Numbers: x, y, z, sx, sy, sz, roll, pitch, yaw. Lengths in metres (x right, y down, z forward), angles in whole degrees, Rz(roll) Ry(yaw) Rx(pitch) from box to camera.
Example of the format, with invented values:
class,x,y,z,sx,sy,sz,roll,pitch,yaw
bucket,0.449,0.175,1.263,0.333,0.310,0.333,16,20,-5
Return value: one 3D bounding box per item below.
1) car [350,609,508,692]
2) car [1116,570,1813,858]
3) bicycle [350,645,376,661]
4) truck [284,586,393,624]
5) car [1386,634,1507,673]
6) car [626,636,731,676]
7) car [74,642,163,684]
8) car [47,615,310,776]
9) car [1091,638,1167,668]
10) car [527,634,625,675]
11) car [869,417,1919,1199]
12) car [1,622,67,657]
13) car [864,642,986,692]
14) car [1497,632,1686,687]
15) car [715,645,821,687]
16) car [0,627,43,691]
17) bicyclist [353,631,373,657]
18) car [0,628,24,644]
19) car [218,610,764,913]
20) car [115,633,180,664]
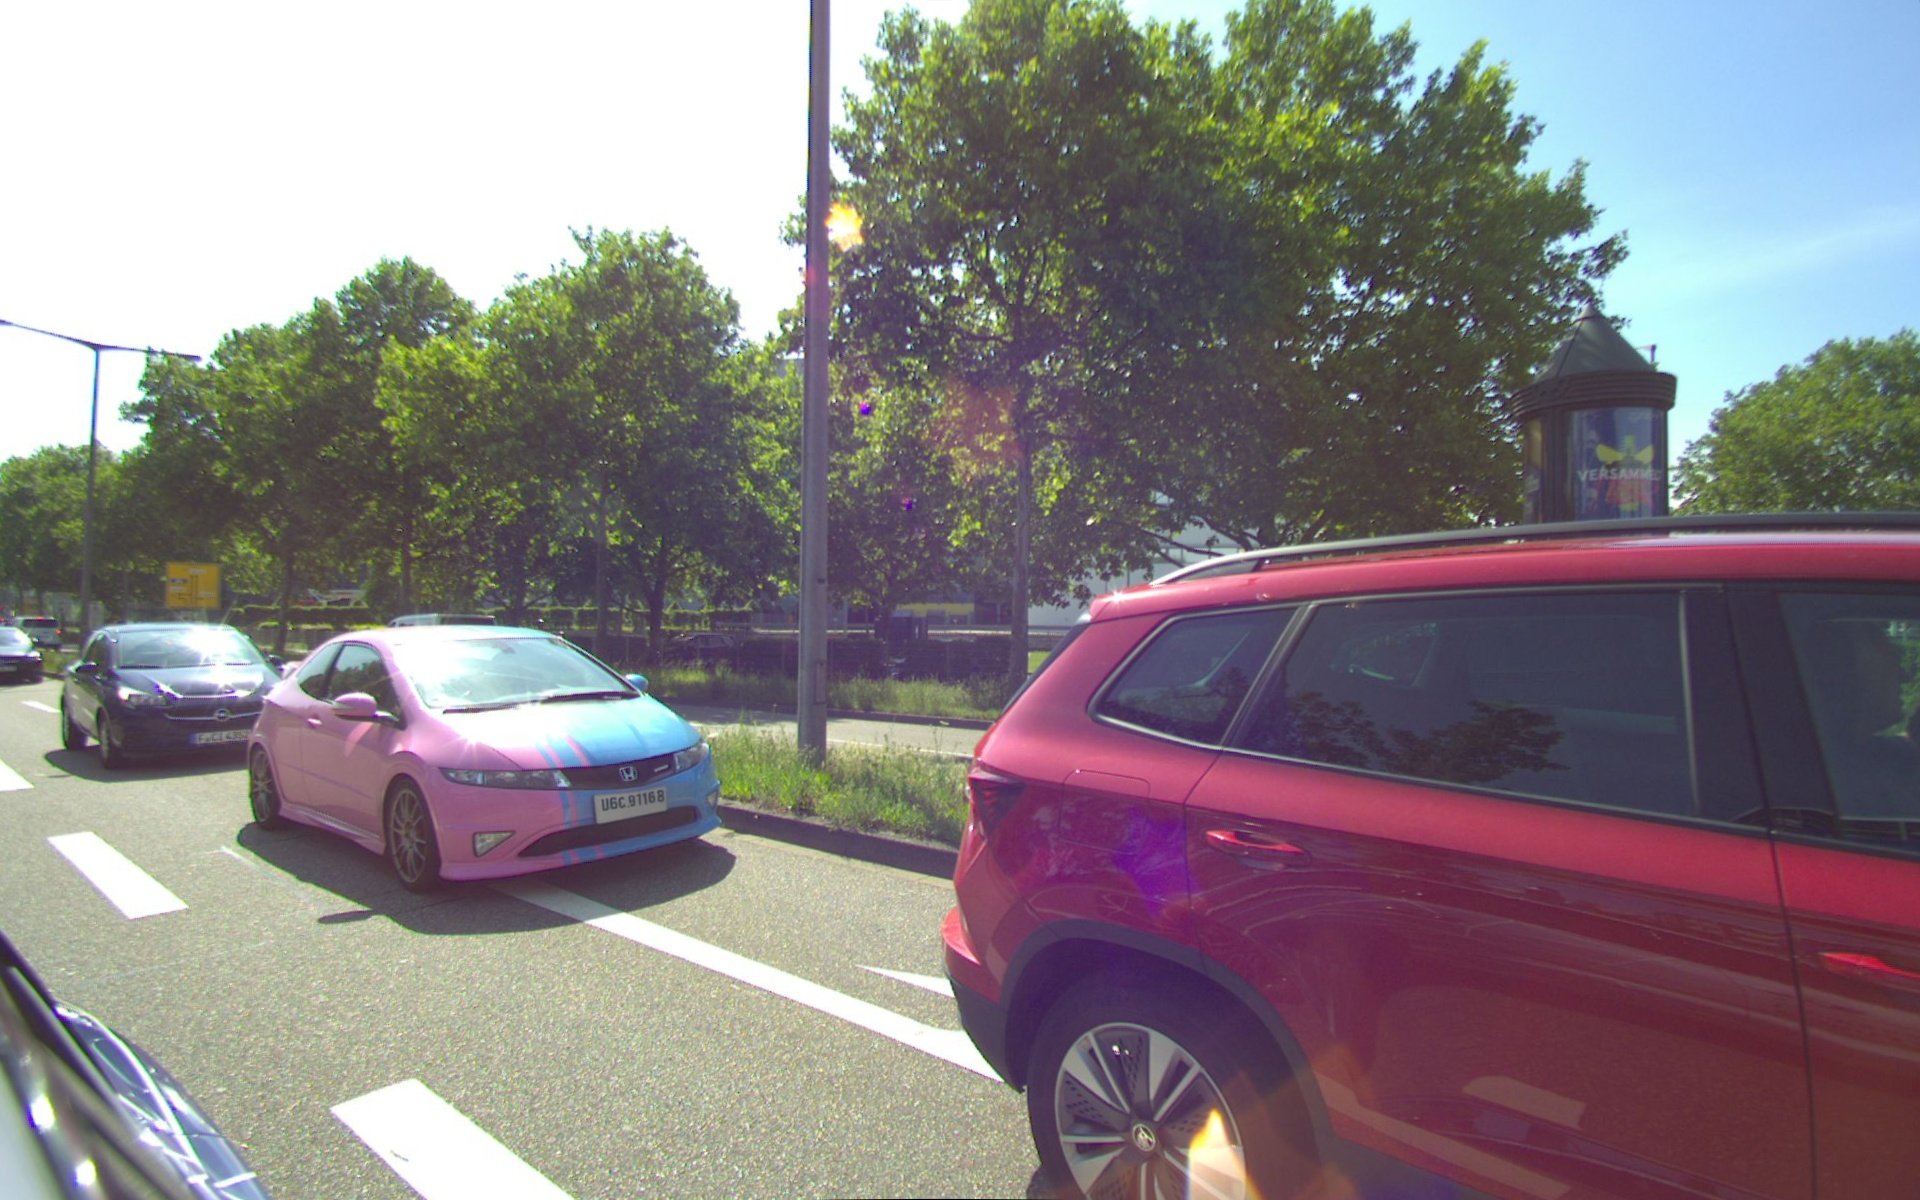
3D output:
class,x,y,z,sx,sy,sz,roll,pitch,yaw
car,-14.271,1.321,27.065,5.210,2.029,1.972,-2,-3,41
car,3.594,0.749,7.977,4.373,1.764,1.854,-1,-2,24
bicycle,-33.794,2.978,57.266,1.925,0.873,0.682,-1,-3,42
truck,-58.140,0.478,94.765,8.877,3.421,2.669,0,-2,5
car,20.902,2.299,43.638,4.286,1.633,1.815,0,-2,5
car,-12.003,2.364,43.322,1.868,1.614,3.946,-2,-3,40
car,-33.434,2.447,40.162,4.680,1.542,1.972,-2,-3,42
car,-9.005,0.961,11.544,4.046,1.494,1.609,-2,-1,41
car,9.392,2.924,56.109,3.932,1.516,1.810,0,-3,-33
car,-18.574,2.594,49.011,2.158,1.836,3.941,-1,-1,45
car,2.073,0.561,1.765,4.591,1.605,1.764,-2,-2,41
car,-52.846,2.235,57.722,5.415,1.898,2.095,-2,-3,40
car,-1.081,2.134,32.873,1.808,1.506,3.945,-2,-3,41
car,20.320,1.916,32.737,4.780,1.678,1.998,0,-2,2
car,-7.500,2.556,39.774,1.801,1.424,3.951,0,-1,36
car,-24.809,1.497,25.669,4.213,1.518,1.803,-2,0,41
bicyclist,-33.769,2.488,57.273,0.941,1.496,0.674,-2,-3,41
car,-88.596,3.370,94.145,3.999,1.473,1.744,-1,-4,42
car,-3.412,0.820,6.870,4.469,1.400,1.685,-2,-1,41
car,-40.332,2.398,50.225,4.357,1.409,1.768,-1,-3,42
